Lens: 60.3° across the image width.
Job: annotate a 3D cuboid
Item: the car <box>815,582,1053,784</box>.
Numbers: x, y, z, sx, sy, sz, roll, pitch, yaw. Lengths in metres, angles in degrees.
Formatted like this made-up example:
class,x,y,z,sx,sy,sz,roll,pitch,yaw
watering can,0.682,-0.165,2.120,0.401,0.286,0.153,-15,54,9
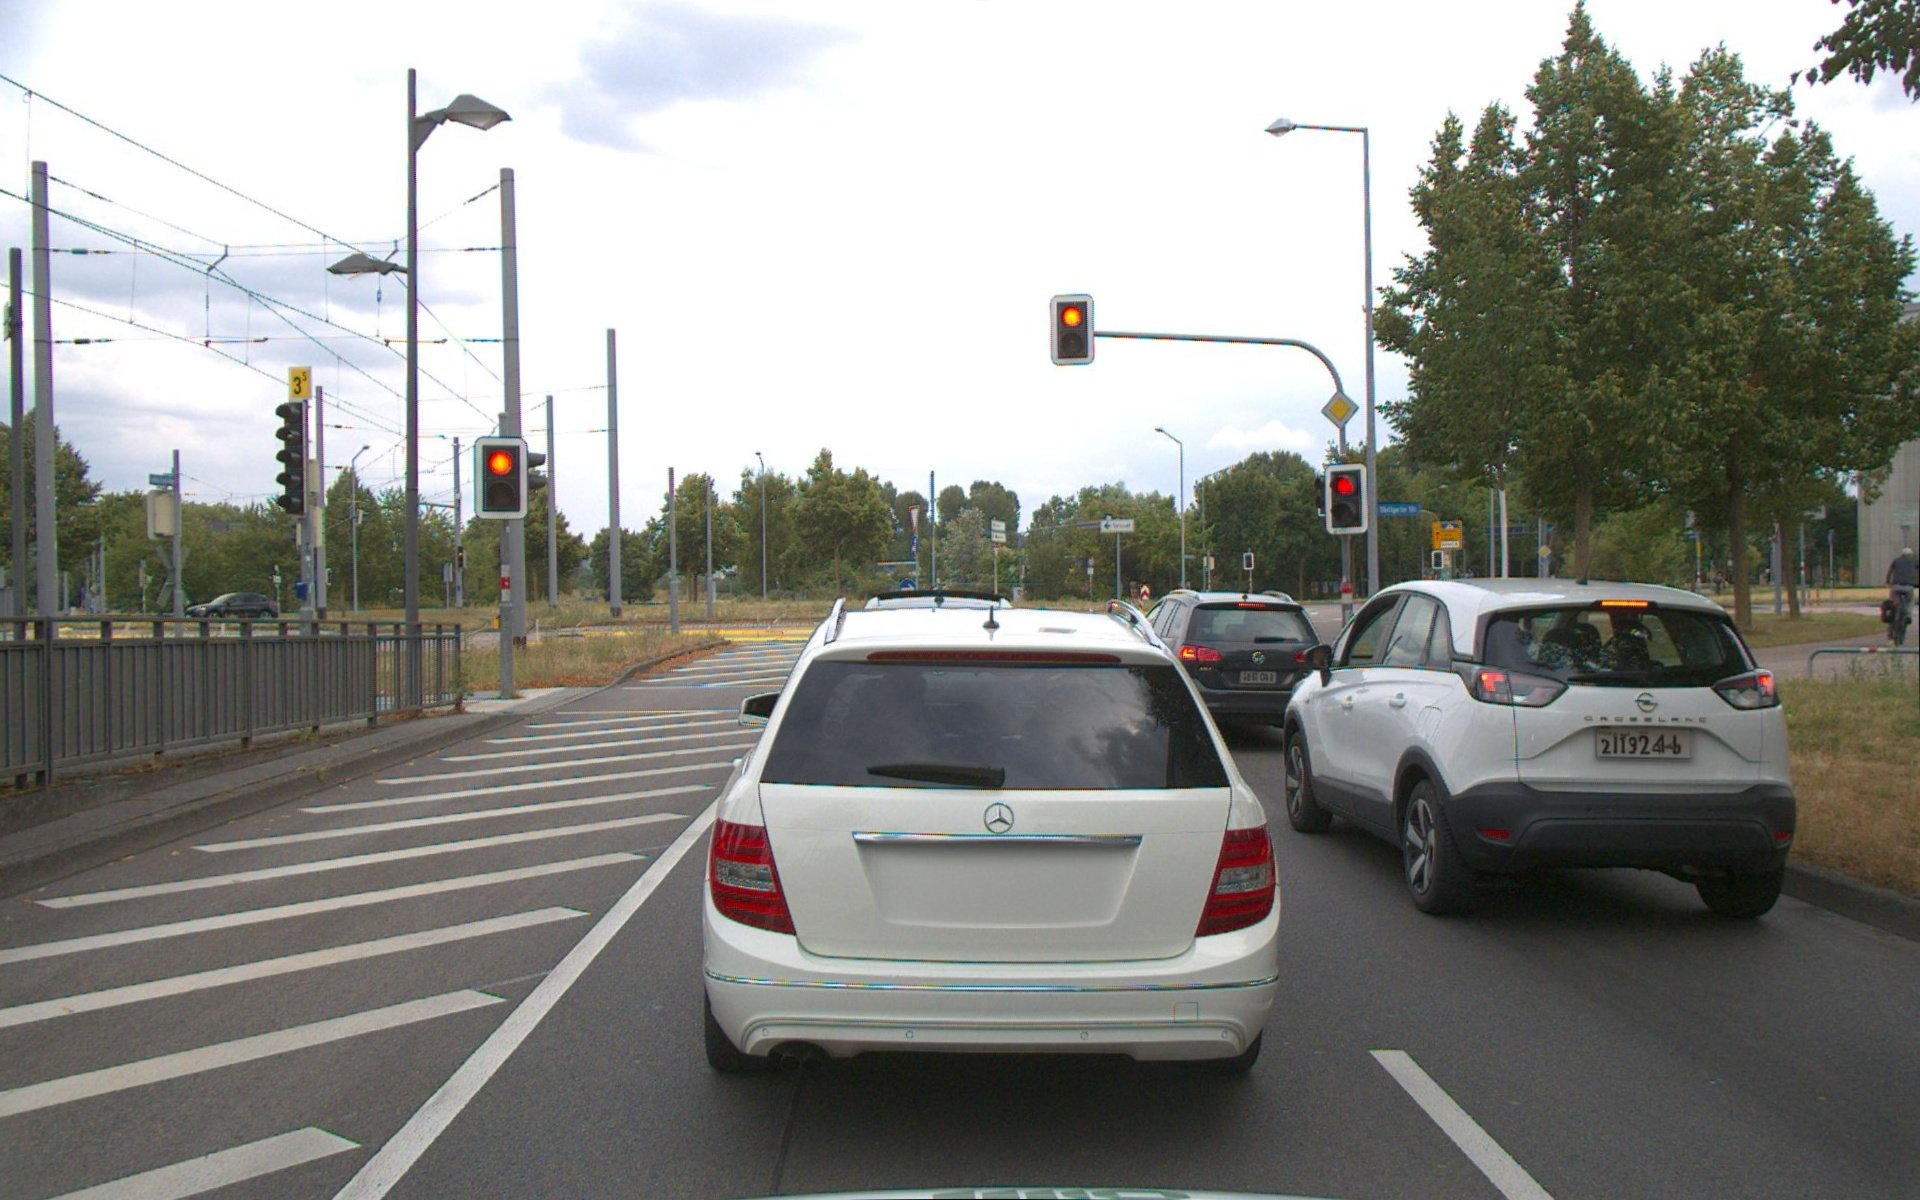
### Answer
class,x,y,z,sx,sy,sz,roll,pitch,yaw
car,-0.281,0.595,14.133,1.738,1.474,3.908,1,0,-3

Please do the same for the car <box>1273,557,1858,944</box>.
class,x,y,z,sx,sy,sz,roll,pitch,yaw
car,3.004,0.634,9.142,1.751,1.653,3.910,-1,1,-1

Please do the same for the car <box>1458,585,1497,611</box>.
class,x,y,z,sx,sy,sz,roll,pitch,yaw
car,38.518,-0.135,123.038,1.956,1.822,3.993,1,0,29

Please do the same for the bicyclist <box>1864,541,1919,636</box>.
class,x,y,z,sx,sy,sz,roll,pitch,yaw
bicyclist,18.250,-0.240,31.985,1.121,1.767,0.984,-4,1,-44

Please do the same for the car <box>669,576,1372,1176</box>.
class,x,y,z,sx,sy,sz,roll,pitch,yaw
car,0.071,0.670,6.066,1.738,1.474,3.908,1,0,-3

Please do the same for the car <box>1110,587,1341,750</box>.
class,x,y,z,sx,sy,sz,roll,pitch,yaw
car,2.620,0.617,17.170,1.592,1.474,3.908,1,0,-3

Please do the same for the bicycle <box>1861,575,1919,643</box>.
class,x,y,z,sx,sy,sz,roll,pitch,yaw
bicycle,18.267,0.152,31.966,2.251,1.256,0.890,-1,1,-45

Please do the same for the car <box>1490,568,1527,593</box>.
class,x,y,z,sx,sy,sz,roll,pitch,yaw
car,37.363,-1.349,112.577,1.749,1.664,4.397,-1,1,27
